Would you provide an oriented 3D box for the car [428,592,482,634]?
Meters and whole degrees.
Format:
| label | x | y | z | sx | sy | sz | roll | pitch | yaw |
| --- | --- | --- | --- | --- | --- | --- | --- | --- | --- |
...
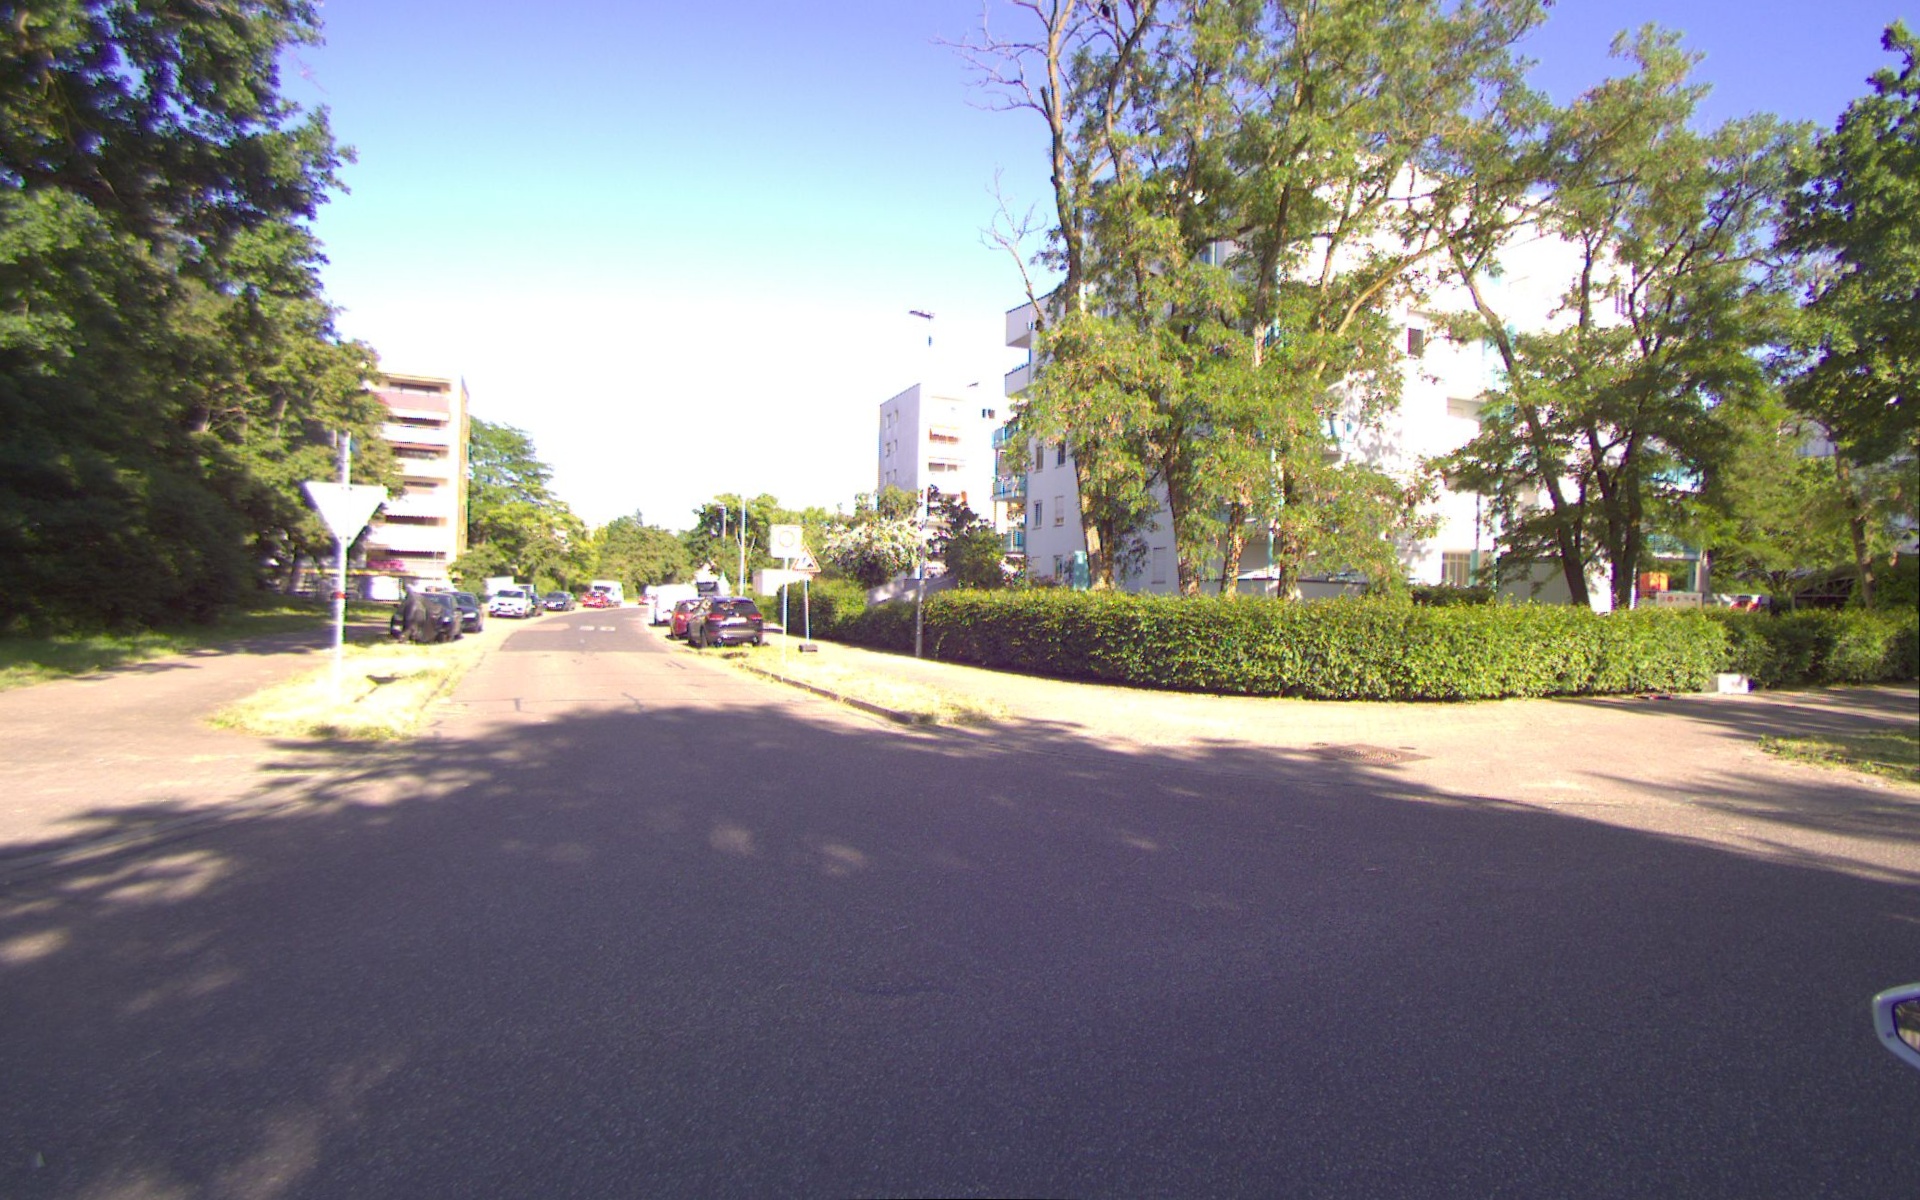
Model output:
| label | x | y | z | sx | sy | sz | roll | pitch | yaw |
| --- | --- | --- | --- | --- | --- | --- | --- | --- | --- |
| car | -18.348 | 0.460 | 36.574 | 1.538 | 1.410 | 3.567 | 1 | 0 | -24 |

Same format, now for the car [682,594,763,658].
| label | x | y | z | sx | sy | sz | roll | pitch | yaw |
| --- | --- | --- | --- | --- | --- | --- | --- | --- | --- |
| car | -7.396 | 0.755 | 31.072 | 1.732 | 1.808 | 3.813 | 1 | 0 | -24 |

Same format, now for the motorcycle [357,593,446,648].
| label | x | y | z | sx | sy | sz | roll | pitch | yaw |
| --- | --- | --- | --- | --- | --- | --- | --- | --- | --- |
| motorcycle | -14.714 | 0.531 | 26.508 | 0.664 | 1.362 | 1.955 | 2 | 0 | 35 |

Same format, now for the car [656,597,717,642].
| label | x | y | z | sx | sy | sz | roll | pitch | yaw |
| --- | --- | --- | --- | --- | --- | --- | --- | --- | --- |
| car | -10.231 | 0.703 | 37.372 | 1.615 | 1.531 | 3.813 | 1 | 0 | -24 |

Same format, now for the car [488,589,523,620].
| label | x | y | z | sx | sy | sz | roll | pitch | yaw |
| --- | --- | --- | --- | --- | --- | --- | --- | --- | --- |
| car | -24.723 | 0.221 | 54.690 | 1.622 | 1.578 | 3.813 | 1 | 0 | -24 |

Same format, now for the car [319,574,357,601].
| label | x | y | z | sx | sy | sz | roll | pitch | yaw |
| --- | --- | --- | --- | --- | --- | --- | --- | --- | --- |
| car | -43.717 | -0.870 | 70.701 | 1.738 | 1.767 | 3.813 | 1 | 0 | -24 |

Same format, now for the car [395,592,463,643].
| label | x | y | z | sx | sy | sz | roll | pitch | yaw |
| --- | --- | --- | --- | --- | --- | --- | --- | --- | --- |
| car | -16.027 | 0.491 | 30.426 | 1.538 | 1.410 | 3.567 | 1 | 0 | -24 |

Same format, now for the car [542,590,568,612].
| label | x | y | z | sx | sy | sz | roll | pitch | yaw |
| --- | --- | --- | --- | --- | --- | --- | --- | --- | --- |
| car | -29.853 | 0.053 | 73.939 | 1.622 | 1.578 | 3.813 | 1 | 0 | -24 |

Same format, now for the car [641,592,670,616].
| label | x | y | z | sx | sy | sz | roll | pitch | yaw |
| --- | --- | --- | --- | --- | --- | --- | --- | --- | --- |
| car | -19.833 | 0.229 | 65.405 | 1.499 | 1.486 | 3.056 | 1 | 0 | -23 |

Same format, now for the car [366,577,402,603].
| label | x | y | z | sx | sy | sz | roll | pitch | yaw |
| --- | --- | --- | --- | --- | --- | --- | --- | --- | --- |
| car | -40.991 | -0.740 | 71.547 | 1.738 | 1.767 | 3.813 | 1 | 0 | -24 |

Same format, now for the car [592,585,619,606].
| label | x | y | z | sx | sy | sz | roll | pitch | yaw |
| --- | --- | --- | --- | --- | --- | --- | --- | --- | --- |
| car | -34.159 | -0.476 | 96.945 | 1.950 | 1.925 | 3.989 | 2 | 0 | -13 |

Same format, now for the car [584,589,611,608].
| label | x | y | z | sx | sy | sz | roll | pitch | yaw |
| --- | --- | --- | --- | --- | --- | --- | --- | --- | --- |
| car | -33.159 | -0.160 | 91.893 | 1.796 | 1.617 | 3.989 | 2 | 0 | -13 |

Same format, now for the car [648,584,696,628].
| label | x | y | z | sx | sy | sz | roll | pitch | yaw |
| --- | --- | --- | --- | --- | --- | --- | --- | --- | --- |
| car | -14.506 | 0.271 | 50.469 | 1.803 | 2.088 | 3.813 | 1 | 0 | -24 |

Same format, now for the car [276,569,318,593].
| label | x | y | z | sx | sy | sz | roll | pitch | yaw |
| --- | --- | --- | --- | --- | --- | --- | --- | --- | --- |
| car | -45.698 | -1.324 | 69.298 | 1.775 | 1.547 | 3.813 | 1 | 0 | -24 |

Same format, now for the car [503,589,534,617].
| label | x | y | z | sx | sy | sz | roll | pitch | yaw |
| --- | --- | --- | --- | --- | --- | --- | --- | --- | --- |
| car | -26.347 | 0.146 | 59.971 | 1.622 | 1.578 | 3.813 | 1 | 0 | -24 |

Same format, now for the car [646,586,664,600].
| label | x | y | z | sx | sy | sz | roll | pitch | yaw |
| --- | --- | --- | --- | --- | --- | --- | --- | --- | --- |
| car | -38.306 | -0.834 | 126.189 | 1.860 | 1.662 | 3.991 | 2 | 0 | -12 |

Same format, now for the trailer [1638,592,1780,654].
| label | x | y | z | sx | sy | sz | roll | pitch | yaw |
| --- | --- | --- | --- | --- | --- | --- | --- | --- | --- |
| trailer | 26.290 | 0.797 | 35.265 | 4.365 | 2.070 | 1.973 | 1 | 0 | -22 |
